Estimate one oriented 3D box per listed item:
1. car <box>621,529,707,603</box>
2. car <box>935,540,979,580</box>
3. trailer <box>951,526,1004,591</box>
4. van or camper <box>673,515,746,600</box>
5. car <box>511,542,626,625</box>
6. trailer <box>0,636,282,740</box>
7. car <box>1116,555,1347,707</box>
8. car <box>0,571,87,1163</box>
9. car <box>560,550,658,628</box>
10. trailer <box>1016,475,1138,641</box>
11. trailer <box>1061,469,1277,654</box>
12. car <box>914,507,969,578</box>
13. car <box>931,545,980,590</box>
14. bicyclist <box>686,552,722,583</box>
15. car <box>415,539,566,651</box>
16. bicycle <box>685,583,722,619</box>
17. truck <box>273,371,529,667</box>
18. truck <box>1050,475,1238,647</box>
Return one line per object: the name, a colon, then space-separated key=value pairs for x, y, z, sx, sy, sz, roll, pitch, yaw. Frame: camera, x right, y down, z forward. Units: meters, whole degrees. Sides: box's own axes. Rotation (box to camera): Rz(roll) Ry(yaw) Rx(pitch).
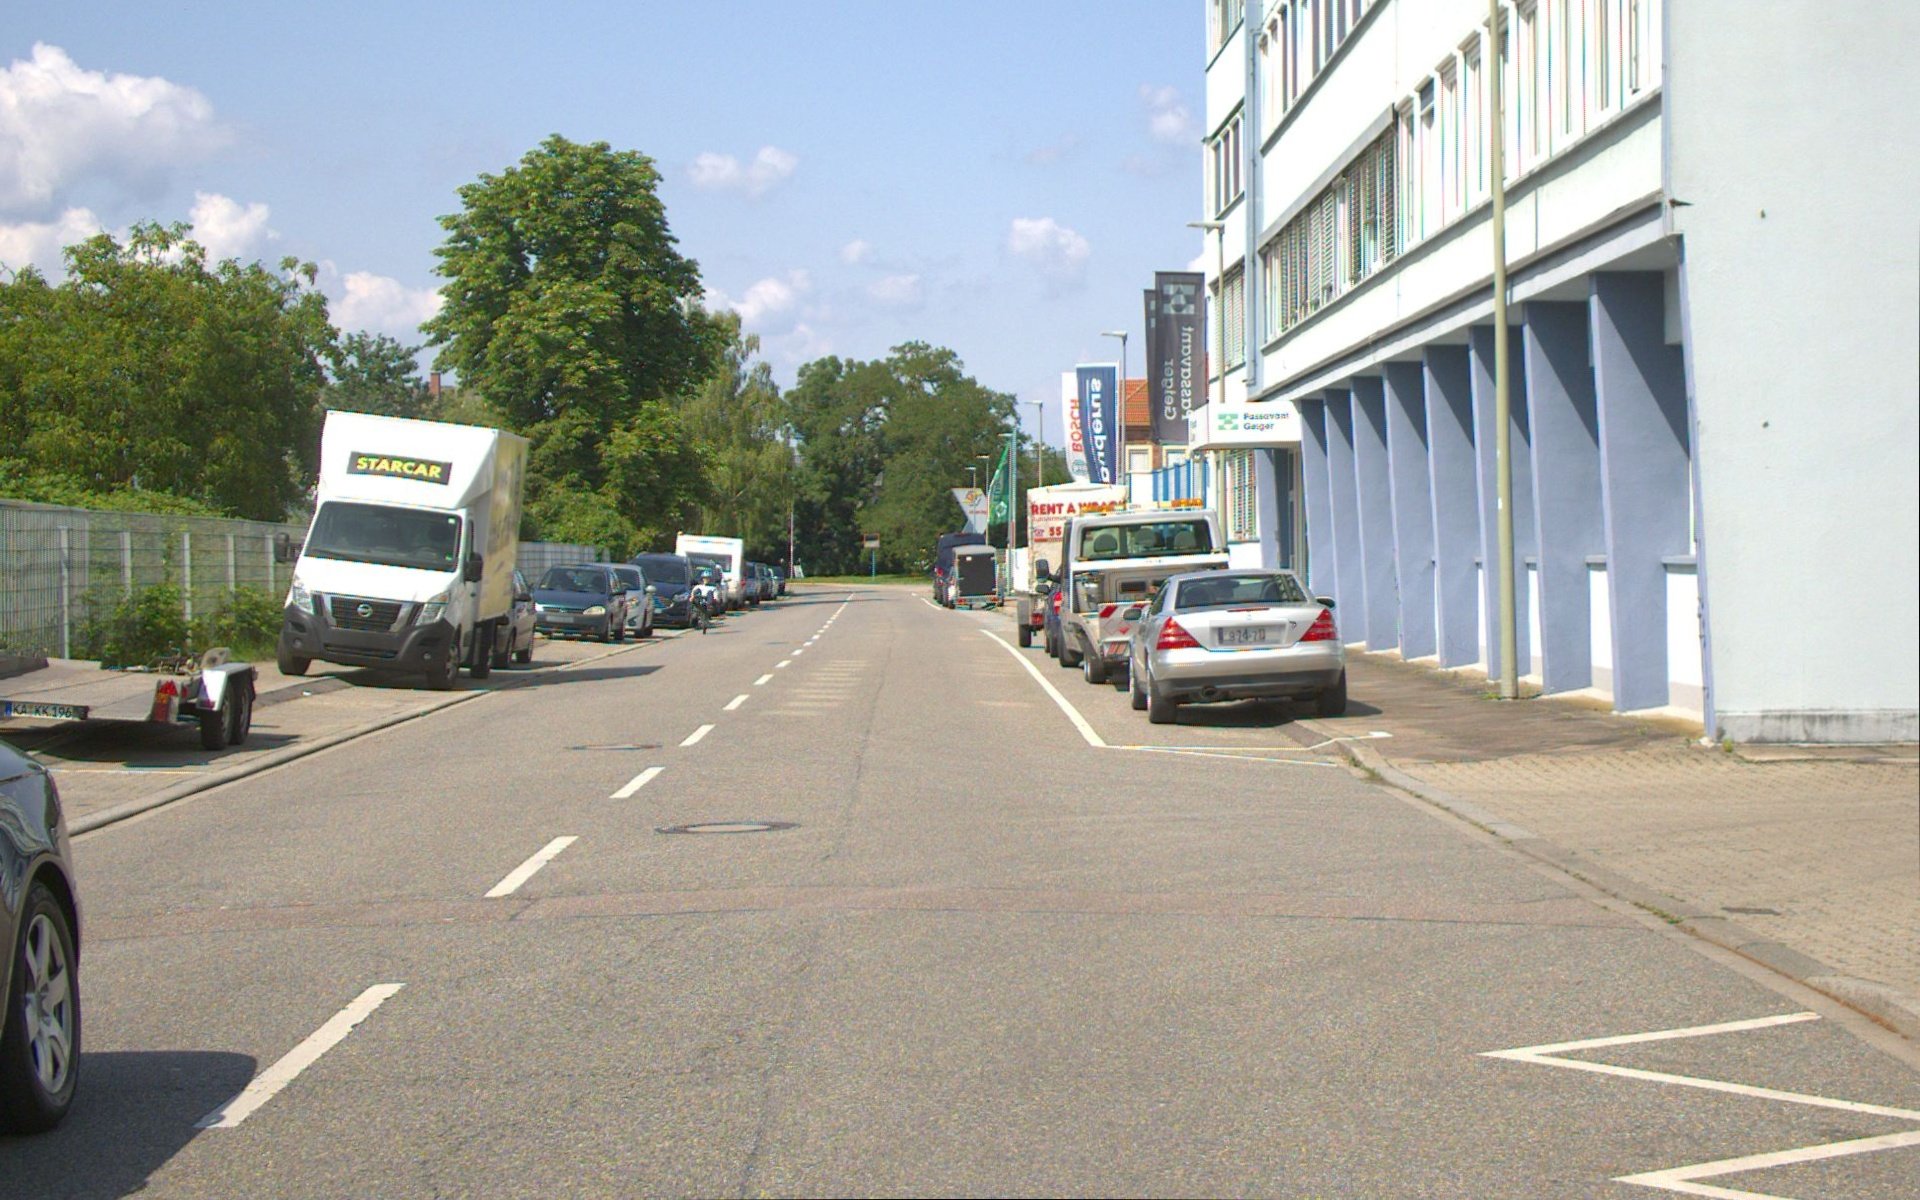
car: x=-7.129 y=-0.817 z=83.122 sx=1.801 sy=1.744 sz=4.713 roll=0 pitch=1 yaw=-2
car: x=-0.149 y=-1.713 z=147.506 sx=1.825 sy=1.659 sz=4.556 roll=-1 pitch=1 yaw=-1
trailer: x=0.550 y=-1.326 z=110.862 sx=1.601 sy=2.030 sz=2.741 roll=1 pitch=0 yaw=-2
van or camper: x=-8.834 y=-1.496 z=121.641 sx=2.262 sy=2.794 sz=6.834 roll=4 pitch=0 yaw=-3
car: x=-7.347 y=-0.325 z=64.798 sx=1.568 sy=1.394 sz=3.799 roll=5 pitch=1 yaw=1
trailer: x=-6.972 y=0.677 z=27.789 sx=2.235 sy=0.550 sz=4.445 roll=2 pitch=1 yaw=-2
car: x=2.364 y=0.234 z=30.806 sx=1.647 sy=1.242 sz=4.000 roll=0 pitch=1 yaw=-2
car: x=-3.222 y=0.721 z=7.095 sx=1.785 sy=1.433 sz=4.310 roll=-3 pitch=1 yaw=-2
car: x=-7.093 y=-0.245 z=69.731 sx=1.615 sy=1.478 sz=3.710 roll=2 pitch=1 yaw=-1
trailer: x=1.865 y=-0.679 z=55.467 sx=1.869 sy=2.544 sz=5.071 roll=0 pitch=1 yaw=2
trailer: x=2.308 y=-0.449 z=39.478 sx=1.973 sy=1.964 sz=5.766 roll=0 pitch=1 yaw=-2
car: x=-0.748 y=-2.236 z=134.812 sx=1.937 sy=2.739 sz=6.155 roll=0 pitch=1 yaw=-2
car: x=-0.173 y=-1.104 z=117.115 sx=1.572 sy=1.502 sz=4.133 roll=0 pitch=0 yaw=-2
bicyclist: x=-5.427 y=-0.696 z=72.972 sx=0.566 sy=0.629 sz=1.857 roll=1 pitch=1 yaw=2
car: x=-6.878 y=-0.088 z=50.709 sx=1.619 sy=1.425 sz=3.827 roll=6 pitch=1 yaw=-1
bicycle: x=-5.433 y=0.020 z=72.996 sx=0.587 sy=0.739 sz=2.125 roll=0 pitch=1 yaw=1
truck: x=-6.803 y=-0.977 z=42.621 sx=2.250 sy=3.350 sz=6.907 roll=1 pitch=1 yaw=-2
truck: x=2.237 y=-0.483 z=42.881 sx=1.964 sy=2.028 sz=4.735 roll=0 pitch=1 yaw=-2
